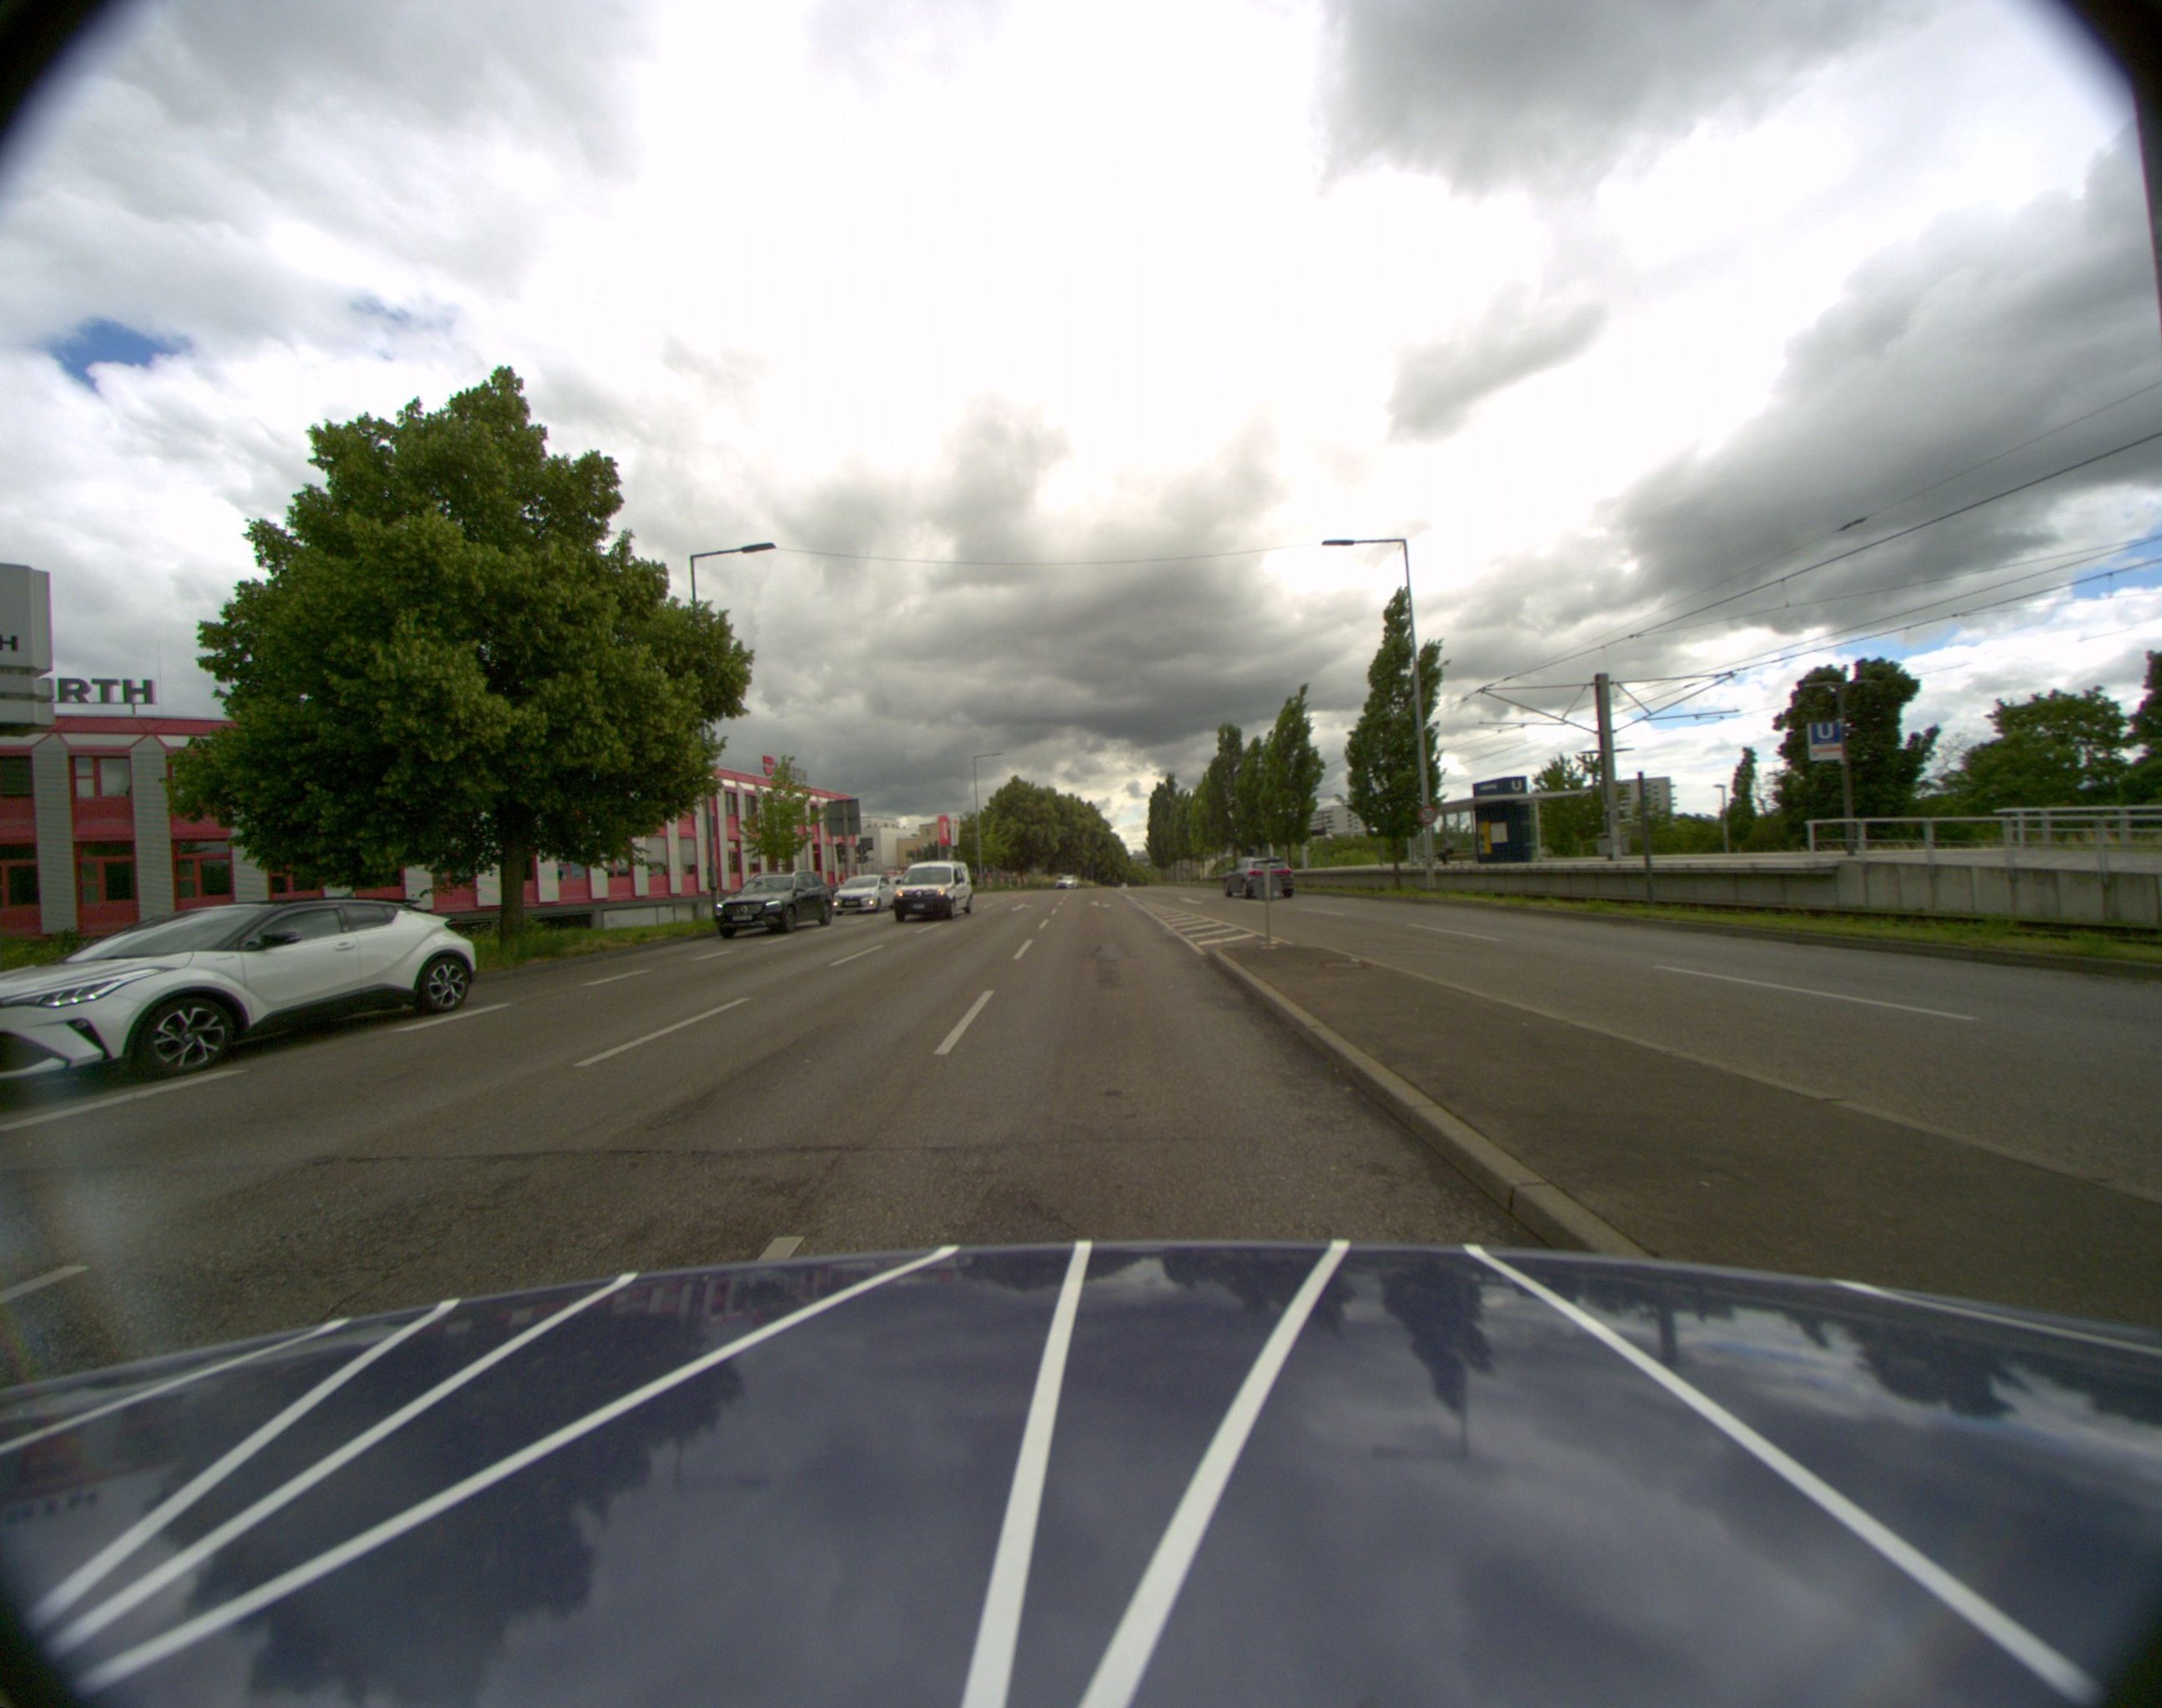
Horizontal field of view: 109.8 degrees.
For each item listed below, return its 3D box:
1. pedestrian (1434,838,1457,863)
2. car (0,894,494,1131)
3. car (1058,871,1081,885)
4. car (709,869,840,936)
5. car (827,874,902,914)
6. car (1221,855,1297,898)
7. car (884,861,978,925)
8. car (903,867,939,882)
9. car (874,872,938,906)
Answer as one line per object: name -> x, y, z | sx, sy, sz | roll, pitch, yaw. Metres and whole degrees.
pedestrian -> 17.616, -0.175, 36.729 | 0.663, 1.195, 0.782 | -2, 0, -7
car -> -8.673, 1.361, 7.808 | 1.785, 1.526, 4.305 | -5, 0, 0
car -> -1.085, 2.451, 76.615 | 1.784, 1.353, 4.483 | -2, -3, 6
car -> -8.403, 1.296, 21.296 | 1.785, 1.639, 4.427 | -1, -2, 1
car -> -8.477, 1.553, 30.101 | 1.785, 1.434, 3.836 | -1, -2, 1
car -> 6.973, 0.838, 30.175 | 1.783, 1.537, 4.223 | -2, 0, -3
car -> -4.679, 1.155, 24.460 | 1.999, 1.791, 4.839 | -2, 0, 0
car -> -21.221, 2.686, 101.000 | 4.248, 1.744, 1.784 | -2, 0, 2
car -> -8.025, 1.589, 35.201 | 1.785, 1.437, 4.530 | -1, -2, 1
